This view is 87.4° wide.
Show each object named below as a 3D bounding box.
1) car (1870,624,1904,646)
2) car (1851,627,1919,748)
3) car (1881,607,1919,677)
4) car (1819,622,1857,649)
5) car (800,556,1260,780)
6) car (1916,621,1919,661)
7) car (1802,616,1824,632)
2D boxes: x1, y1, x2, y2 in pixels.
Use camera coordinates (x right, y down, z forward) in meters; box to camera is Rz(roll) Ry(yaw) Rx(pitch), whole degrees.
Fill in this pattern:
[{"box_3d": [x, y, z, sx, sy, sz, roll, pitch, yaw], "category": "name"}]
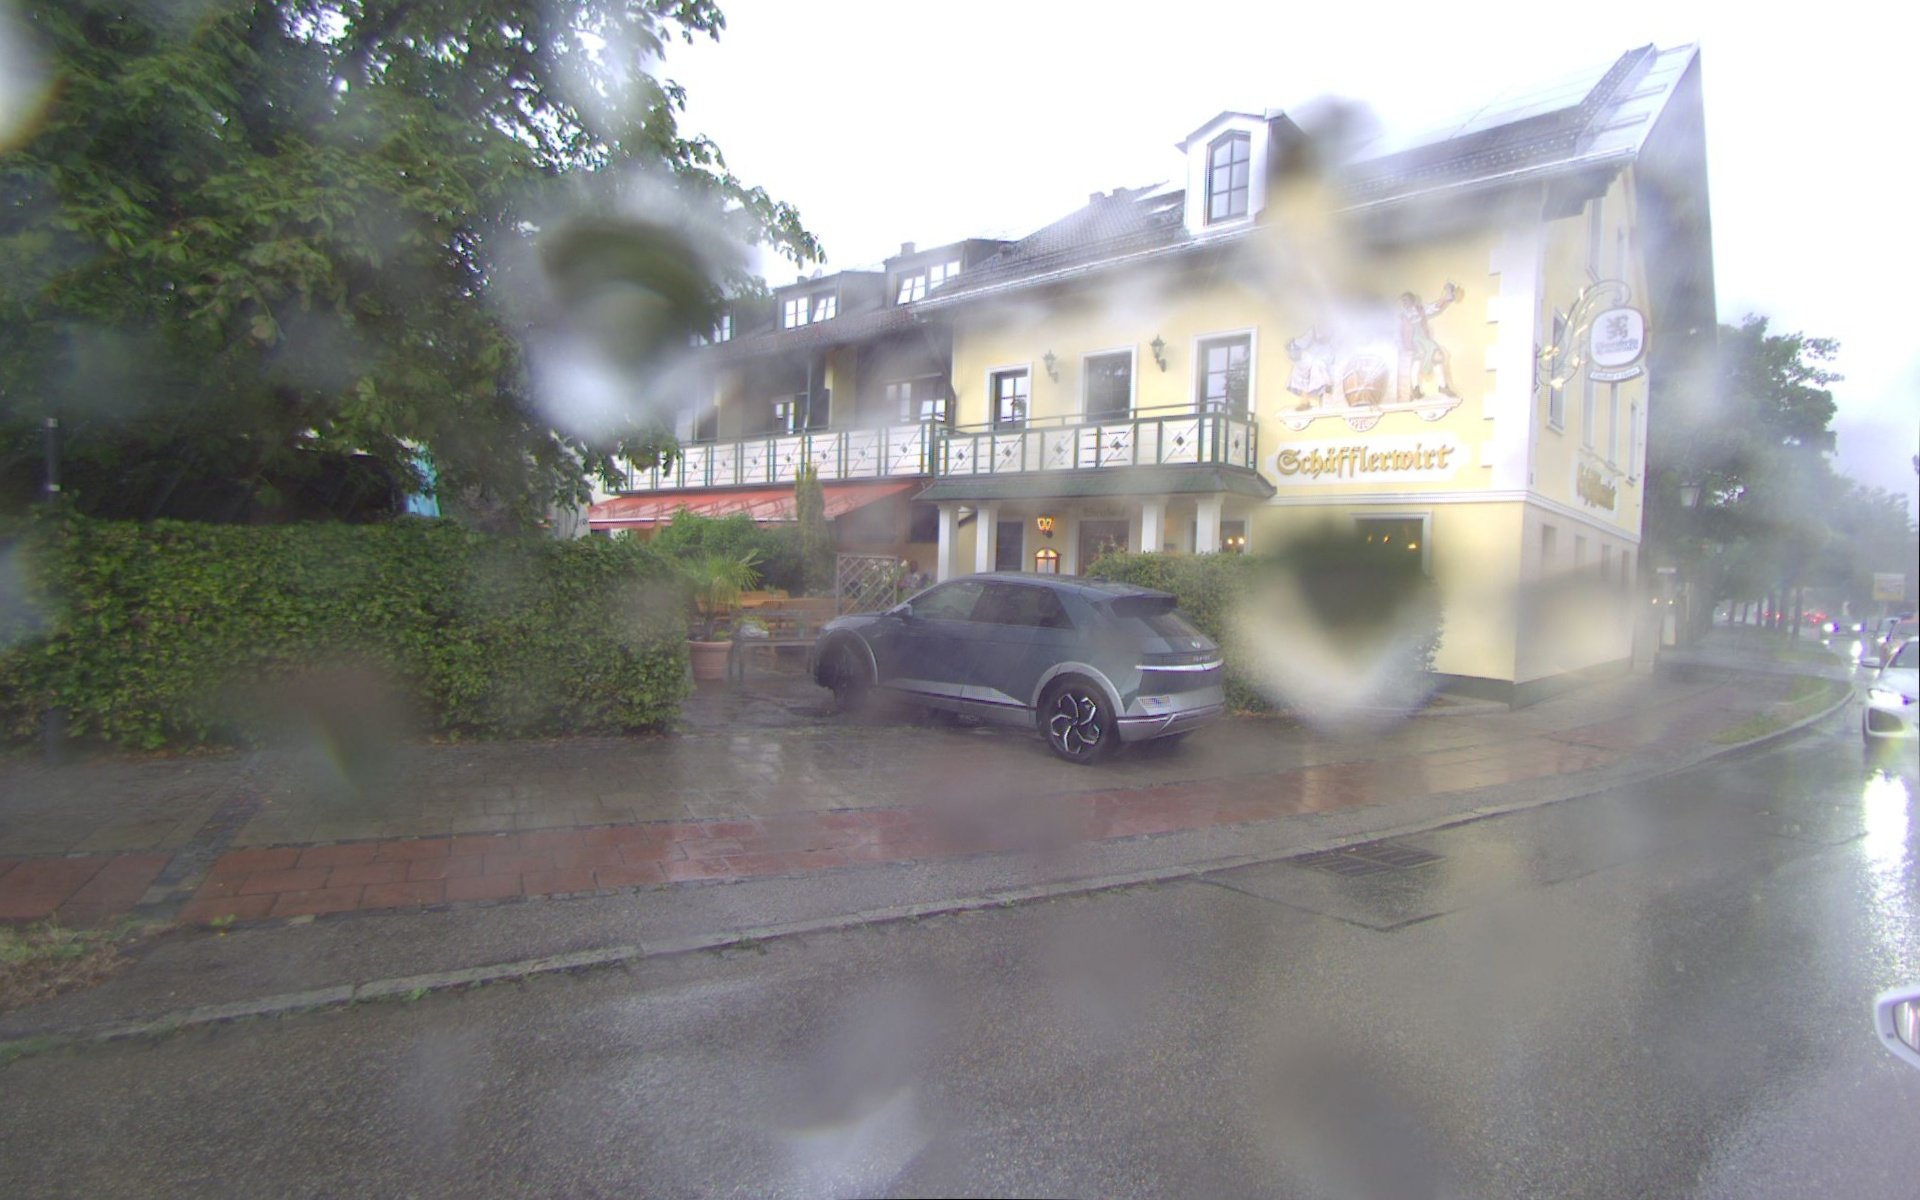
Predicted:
[{"box_3d": [90.481, 3.392, 98.086, 2.144, 1.925, 4.989, 3, 2, 40], "category": "car"}, {"box_3d": [13.133, 1.074, 12.991, 4.447, 1.377, 1.846, 1, 0, -41], "category": "car"}, {"box_3d": [26.125, 1.107, 27.047, 1.842, 1.781, 4.459, -2, -2, 42], "category": "car"}, {"box_3d": [59.292, 2.398, 67.896, 1.841, 1.781, 4.460, -2, -2, 41], "category": "car"}, {"box_3d": [0.546, 0.473, 10.302, 4.421, 1.589, 1.830, 6, 6, 39], "category": "car"}, {"box_3d": [49.045, 2.126, 49.714, 2.144, 1.925, 4.989, 3, 2, 40], "category": "car"}, {"box_3d": [97.231, 2.726, 114.442, 1.841, 1.781, 4.460, -2, -2, 41], "category": "car"}]
